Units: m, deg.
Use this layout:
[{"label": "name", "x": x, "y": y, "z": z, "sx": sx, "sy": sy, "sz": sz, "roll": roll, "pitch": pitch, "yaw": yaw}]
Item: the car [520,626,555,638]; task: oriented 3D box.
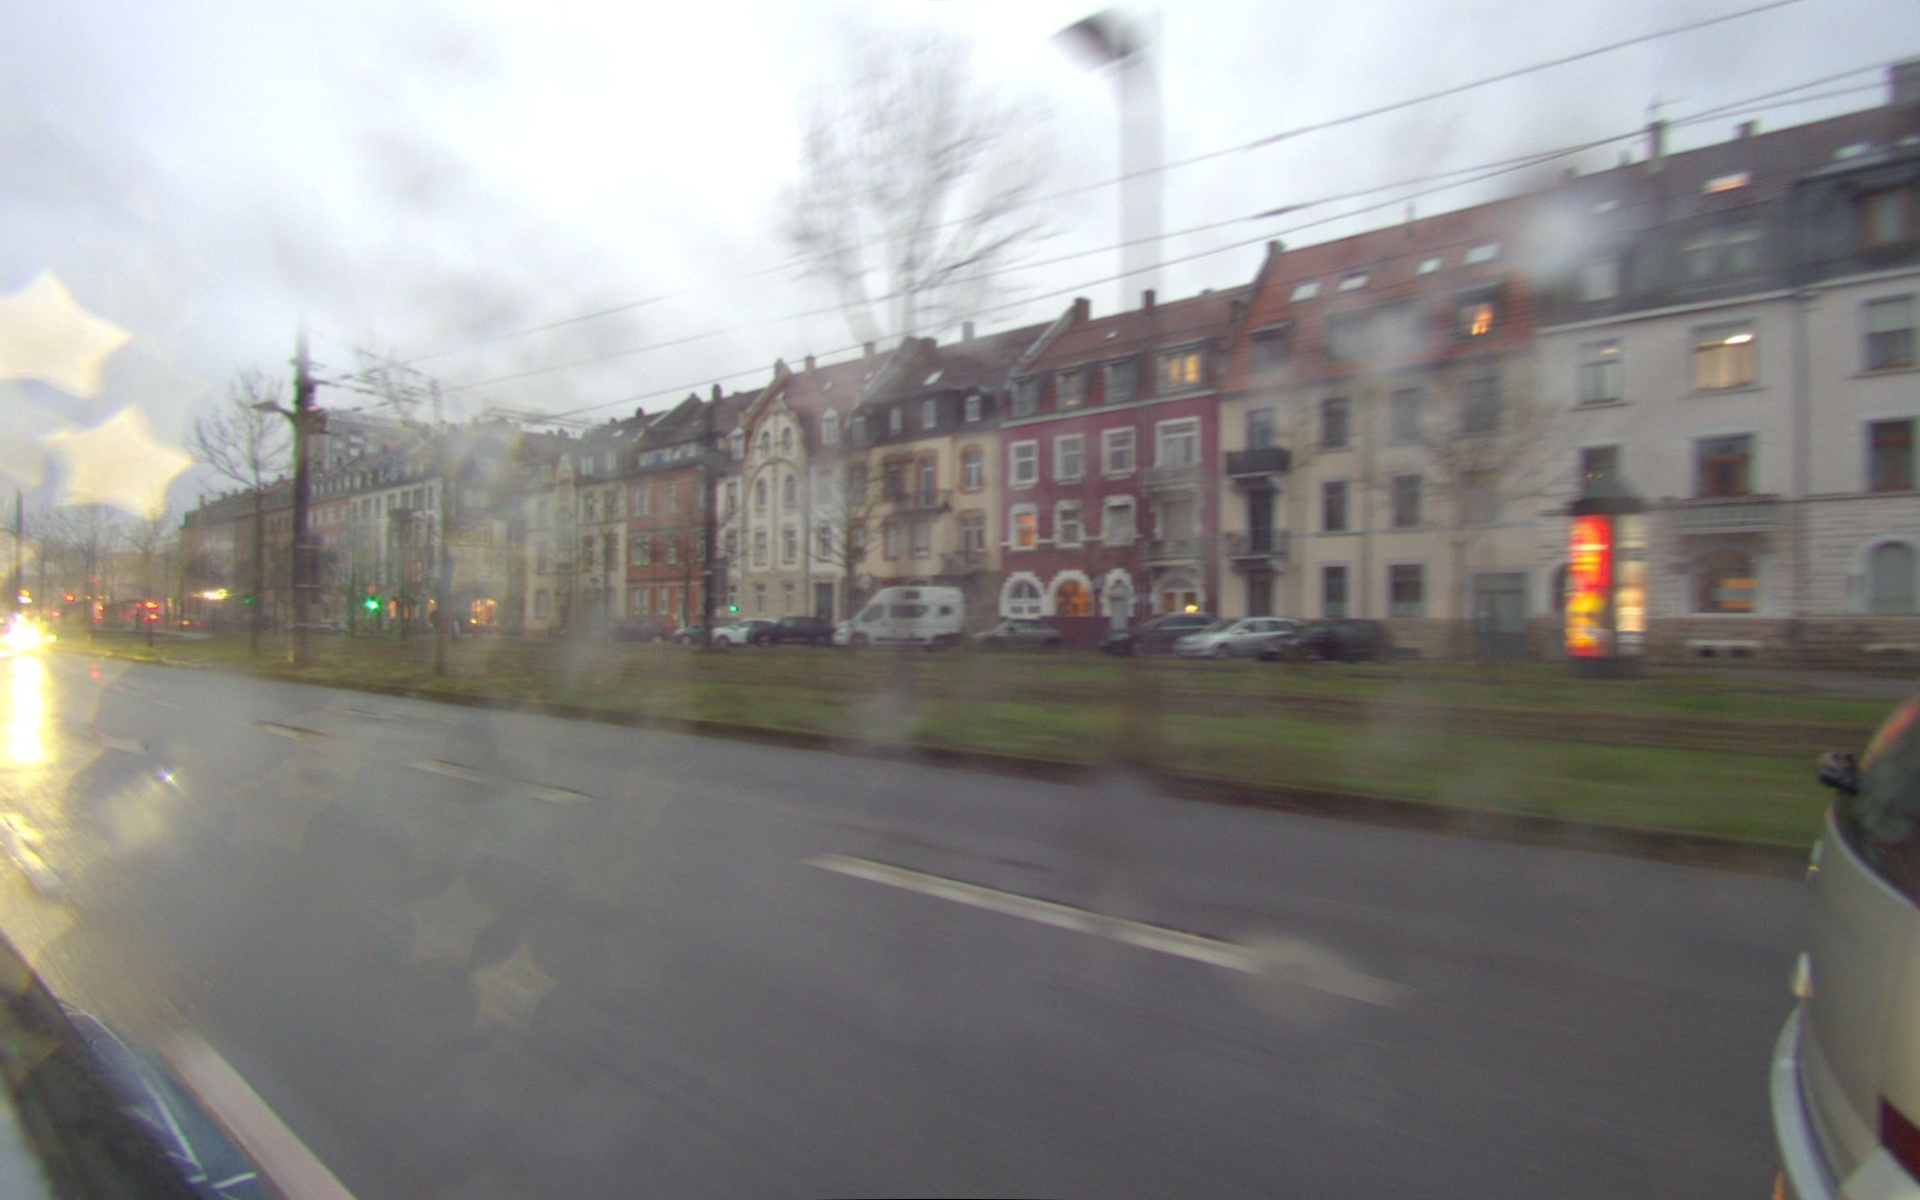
[{"label": "car", "x": -41.202, "y": 3.128, "z": 98.634, "sx": 1.330, "sy": 1.083, "sz": 2.860, "roll": -1, "pitch": -2, "yaw": 41}]

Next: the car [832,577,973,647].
[{"label": "car", "x": -2.448, "y": 0.524, "z": 42.678, "sx": 5.775, "sy": 2.819, "sz": 2.003, "roll": 0, "pitch": -2, "yaw": -7}]

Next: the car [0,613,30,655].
[{"label": "car", "x": -36.327, "y": 1.265, "z": 37.929, "sx": 4.052, "sy": 1.508, "sz": 1.790, "roll": -1, "pitch": 0, "yaw": 42}]

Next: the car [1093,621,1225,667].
[{"label": "car", "x": 6.744, "y": 1.489, "z": 34.443, "sx": 3.932, "sy": 1.497, "sz": 2.005, "roll": 1, "pitch": -2, "yaw": -14}]

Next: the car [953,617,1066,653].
[{"label": "car", "x": 1.873, "y": 1.351, "z": 38.831, "sx": 3.934, "sy": 1.342, "sz": 2.005, "roll": 1, "pitch": -2, "yaw": -11}]

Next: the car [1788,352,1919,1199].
[{"label": "car", "x": 3.109, "y": 0.499, "z": 0.553, "sx": 4.052, "sy": 1.612, "sz": 1.790, "roll": -1, "pitch": 0, "yaw": 41}]

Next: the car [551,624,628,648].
[{"label": "car", "x": -21.190, "y": 2.071, "z": 58.006, "sx": 3.933, "sy": 1.342, "sz": 2.005, "roll": 1, "pitch": -2, "yaw": -13}]

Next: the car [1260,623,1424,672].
[{"label": "car", "x": 10.988, "y": 1.356, "z": 29.231, "sx": 3.934, "sy": 1.342, "sz": 2.005, "roll": 1, "pitch": -2, "yaw": -11}]

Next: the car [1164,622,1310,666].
[{"label": "car", "x": 8.708, "y": 1.374, "z": 31.982, "sx": 3.934, "sy": 1.342, "sz": 2.005, "roll": 1, "pitch": -2, "yaw": -11}]

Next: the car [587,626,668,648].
[{"label": "car", "x": -17.914, "y": 1.989, "z": 54.631, "sx": 3.935, "sy": 1.178, "sz": 2.004, "roll": 1, "pitch": -2, "yaw": -11}]

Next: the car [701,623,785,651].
[{"label": "car", "x": -10.683, "y": 1.793, "z": 49.641, "sx": 3.933, "sy": 1.342, "sz": 2.005, "roll": 1, "pitch": -2, "yaw": -14}]

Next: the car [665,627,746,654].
[{"label": "car", "x": -13.051, "y": 2.075, "z": 52.060, "sx": 3.933, "sy": 1.342, "sz": 2.005, "roll": 1, "pitch": -2, "yaw": -13}]
